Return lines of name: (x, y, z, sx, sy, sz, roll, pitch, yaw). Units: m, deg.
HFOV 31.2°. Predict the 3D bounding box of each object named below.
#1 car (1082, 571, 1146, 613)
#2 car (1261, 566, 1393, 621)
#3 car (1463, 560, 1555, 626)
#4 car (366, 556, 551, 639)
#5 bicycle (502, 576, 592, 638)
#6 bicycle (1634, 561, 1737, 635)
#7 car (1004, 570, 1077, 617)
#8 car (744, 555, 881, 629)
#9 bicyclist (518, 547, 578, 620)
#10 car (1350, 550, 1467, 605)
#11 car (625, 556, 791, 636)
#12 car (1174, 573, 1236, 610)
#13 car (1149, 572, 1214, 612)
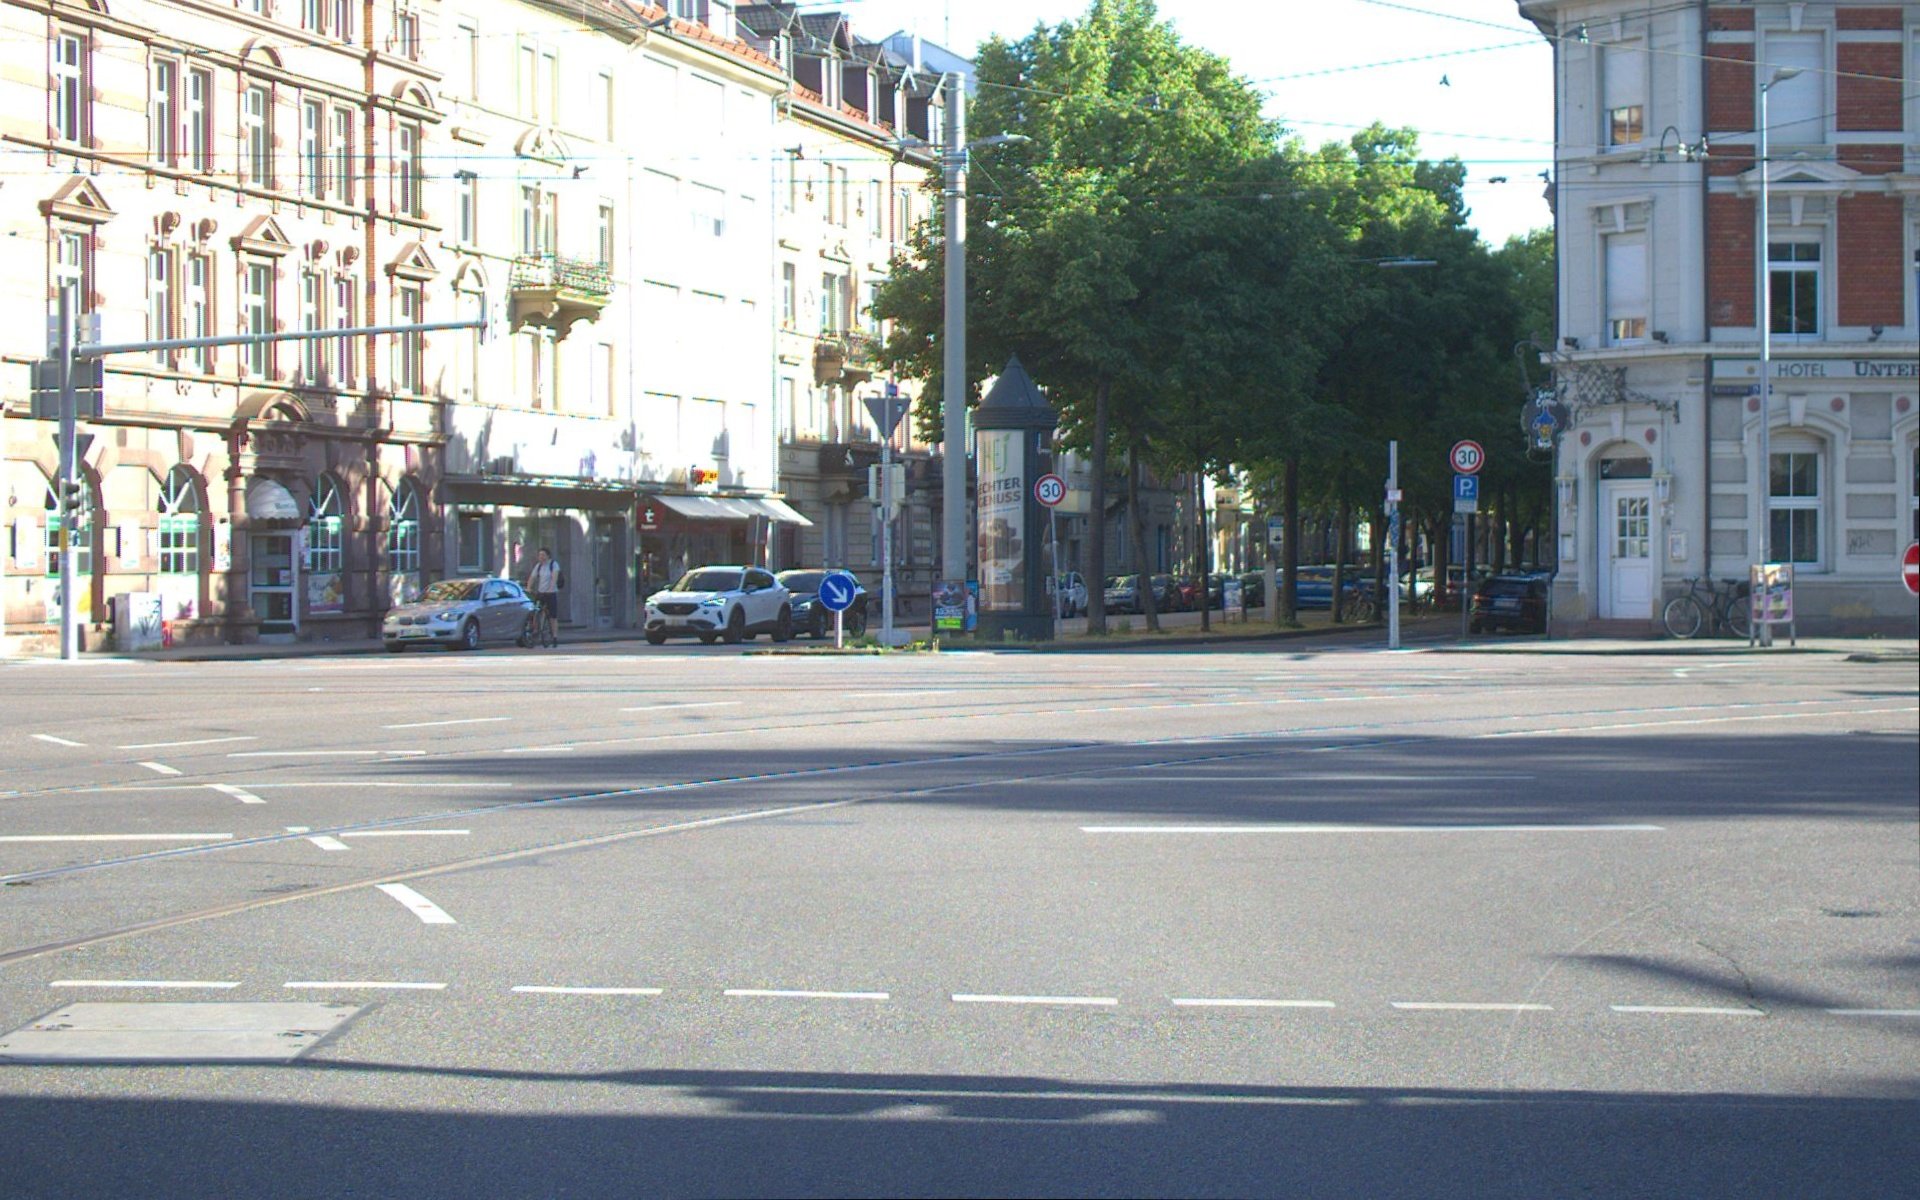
car: (5.508, -0.305, 122.788, 1.741, 1.393, 4.122, 3, 1, 9)
car: (12.292, -0.229, 115.230, 4.113, 1.640, 1.745, 3, 1, 15)
car: (13.168, -0.160, 82.291, 1.652, 1.519, 3.750, 0, 0, 17)
car: (-9.776, -0.072, 67.385, 2.098, 1.540, 4.361, 0, 1, 14)
bicycle: (-7.866, 0.126, 65.633, 0.751, 1.131, 2.808, 0, 1, 14)
bicycle: (12.063, -0.037, 57.139, 1.639, 1.218, 0.606, 0, 1, 16)
car: (2.598, -0.218, 110.006, 1.741, 1.393, 4.122, 3, 1, 9)
car: (-3.128, -0.192, 73.538, 1.994, 1.508, 3.998, 0, 1, 12)
bicyclist: (-7.852, -0.315, 65.596, 0.794, 1.370, 1.107, 0, 1, 14)
car: (17.409, -0.881, 133.429, 4.115, 1.912, 1.744, 3, 1, 21)
car: (-4.877, -0.104, 67.170, 2.098, 1.494, 3.998, 0, 1, 14)
car: (9.727, -0.351, 136.391, 1.742, 1.393, 4.121, 3, 1, 13)
car: (8.509, -0.316, 131.612, 1.742, 1.393, 4.121, 3, 1, 13)
